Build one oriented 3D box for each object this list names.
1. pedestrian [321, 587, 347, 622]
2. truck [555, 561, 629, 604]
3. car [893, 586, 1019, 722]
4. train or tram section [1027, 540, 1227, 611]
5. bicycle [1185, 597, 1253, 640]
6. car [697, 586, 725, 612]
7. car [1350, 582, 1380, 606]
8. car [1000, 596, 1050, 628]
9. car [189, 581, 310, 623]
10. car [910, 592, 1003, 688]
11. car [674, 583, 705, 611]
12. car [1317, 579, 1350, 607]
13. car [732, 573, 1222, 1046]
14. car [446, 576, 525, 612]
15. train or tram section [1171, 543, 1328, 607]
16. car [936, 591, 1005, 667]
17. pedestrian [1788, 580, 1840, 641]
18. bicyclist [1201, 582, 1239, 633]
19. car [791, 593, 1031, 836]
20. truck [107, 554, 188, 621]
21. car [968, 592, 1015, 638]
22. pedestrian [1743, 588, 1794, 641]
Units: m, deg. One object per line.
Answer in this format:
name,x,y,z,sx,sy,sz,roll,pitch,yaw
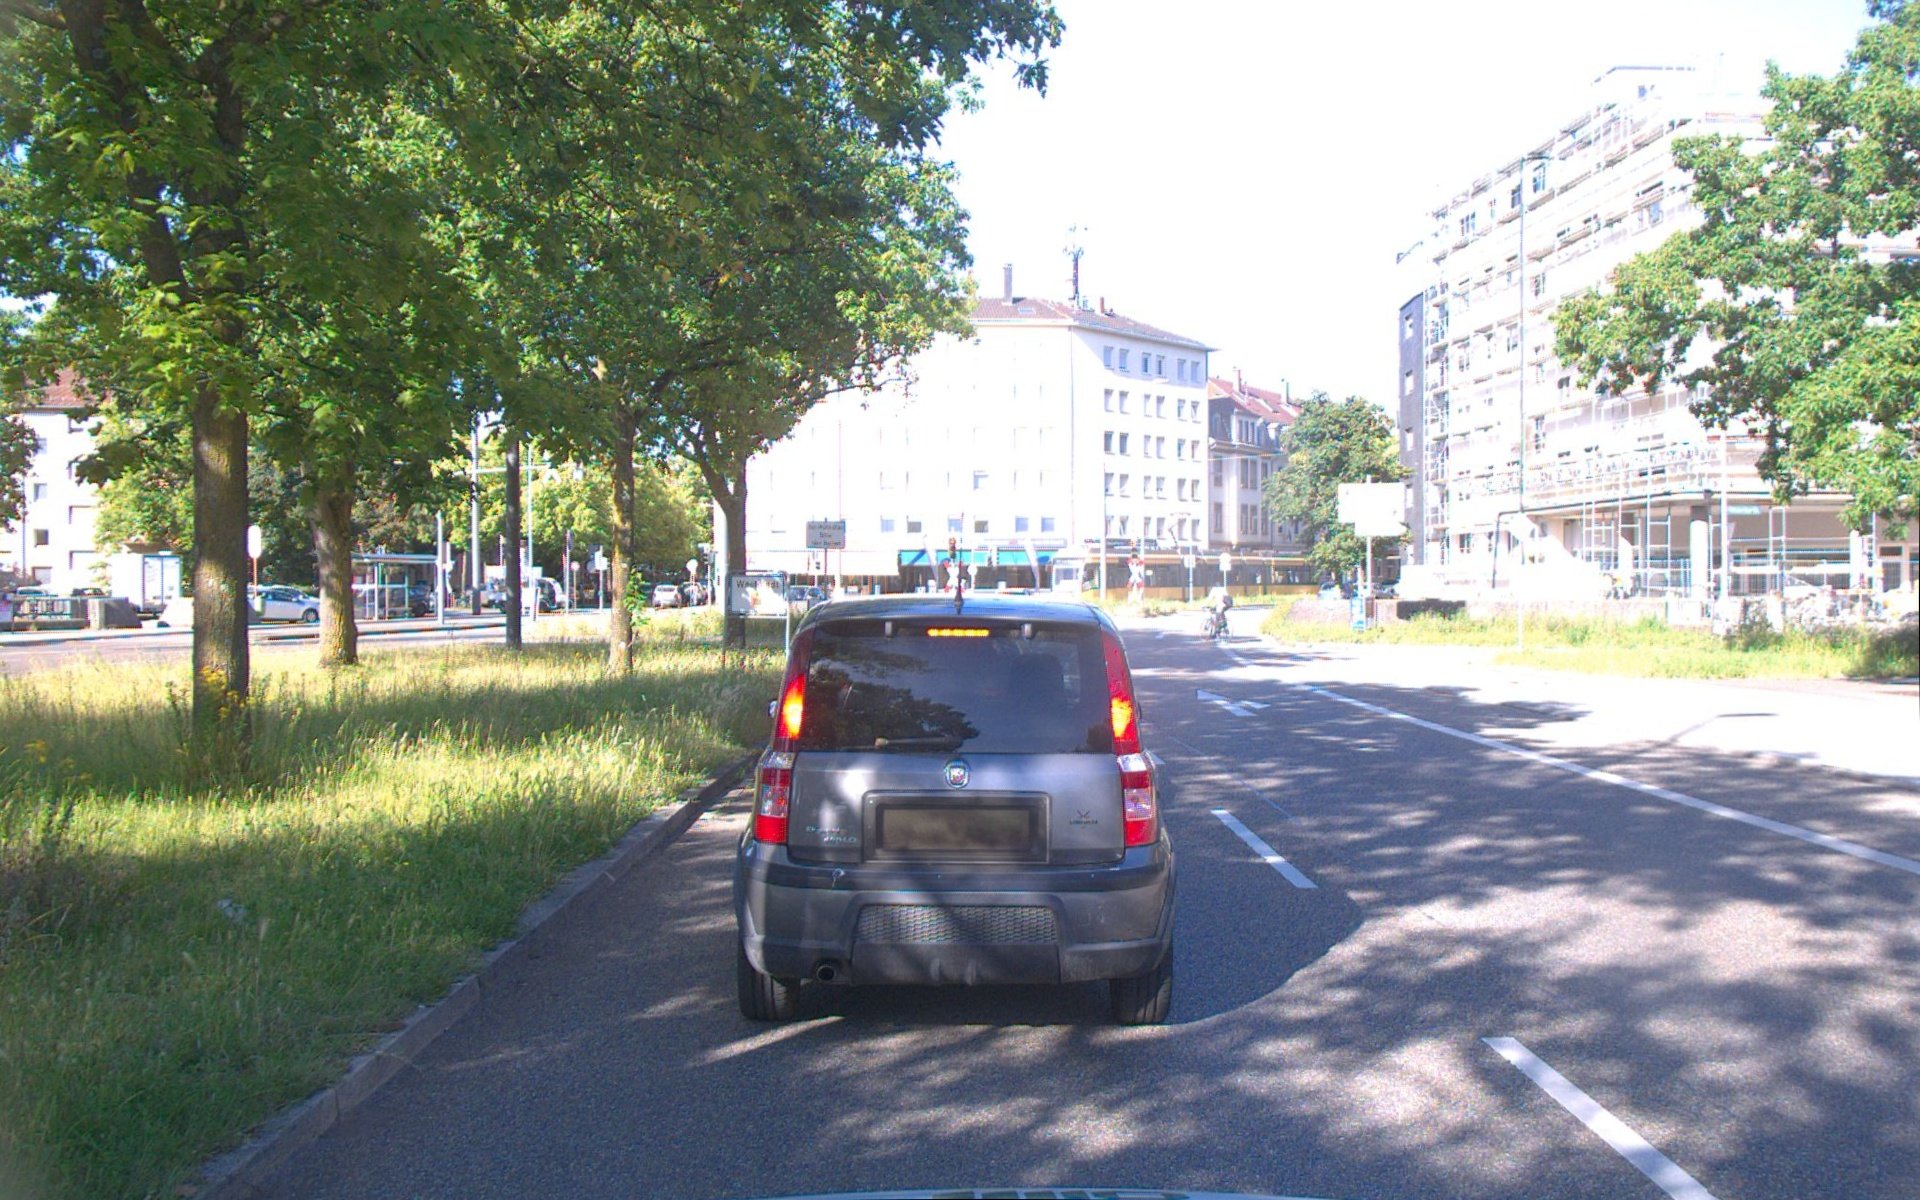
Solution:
pedestrian,-29.214,0.218,77.208,0.904,1.636,0.794,0,0,38
truck,-28.355,-1.354,127.367,5.371,3.224,2.341,0,0,28
car,-0.072,0.603,20.671,1.434,1.534,3.504,0,1,-1
train or tram section,9.791,-1.367,92.390,3.235,3.574,19.342,0,1,31
bicycle,7.463,0.517,47.816,0.699,1.219,2.501,1,0,-24
car,-20.034,-0.113,133.003,1.954,2.049,3.996,0,1,-5
car,23.118,-0.343,94.377,1.495,1.337,3.289,0,1,17
car,2.286,0.400,57.701,1.118,1.083,2.723,0,1,17
car,-29.952,0.051,69.783,1.961,1.713,4.302,0,1,38
car,-0.079,0.608,27.245,1.434,1.449,3.381,0,1,-1
car,-20.150,-0.245,123.283,1.954,2.049,3.996,0,1,-5
car,20.508,-0.398,90.710,1.646,1.475,3.574,0,1,15
car,0.031,0.660,7.411,1.595,1.534,3.999,0,1,-1
car,-27.966,-0.358,97.553,4.093,2.049,1.930,0,0,-3
train or tram section,19.444,-1.653,108.839,3.234,3.836,20.769,0,1,30
car,0.179,0.555,33.859,1.328,1.475,3.265,0,0,-1
pedestrian,23.801,0.285,46.120,0.878,1.682,0.979,0,0,-27
bicyclist,7.494,0.210,47.702,0.732,1.463,0.838,1,-1,-25
car,-0.318,0.681,11.626,1.434,1.425,3.393,0,1,-1
truck,-35.741,-0.550,72.689,3.932,2.854,1.987,0,1,44
car,0.920,0.427,49.605,1.328,1.304,2.875,0,1,-1
pedestrian,22.538,0.395,46.097,0.877,1.472,0.962,0,0,-15
